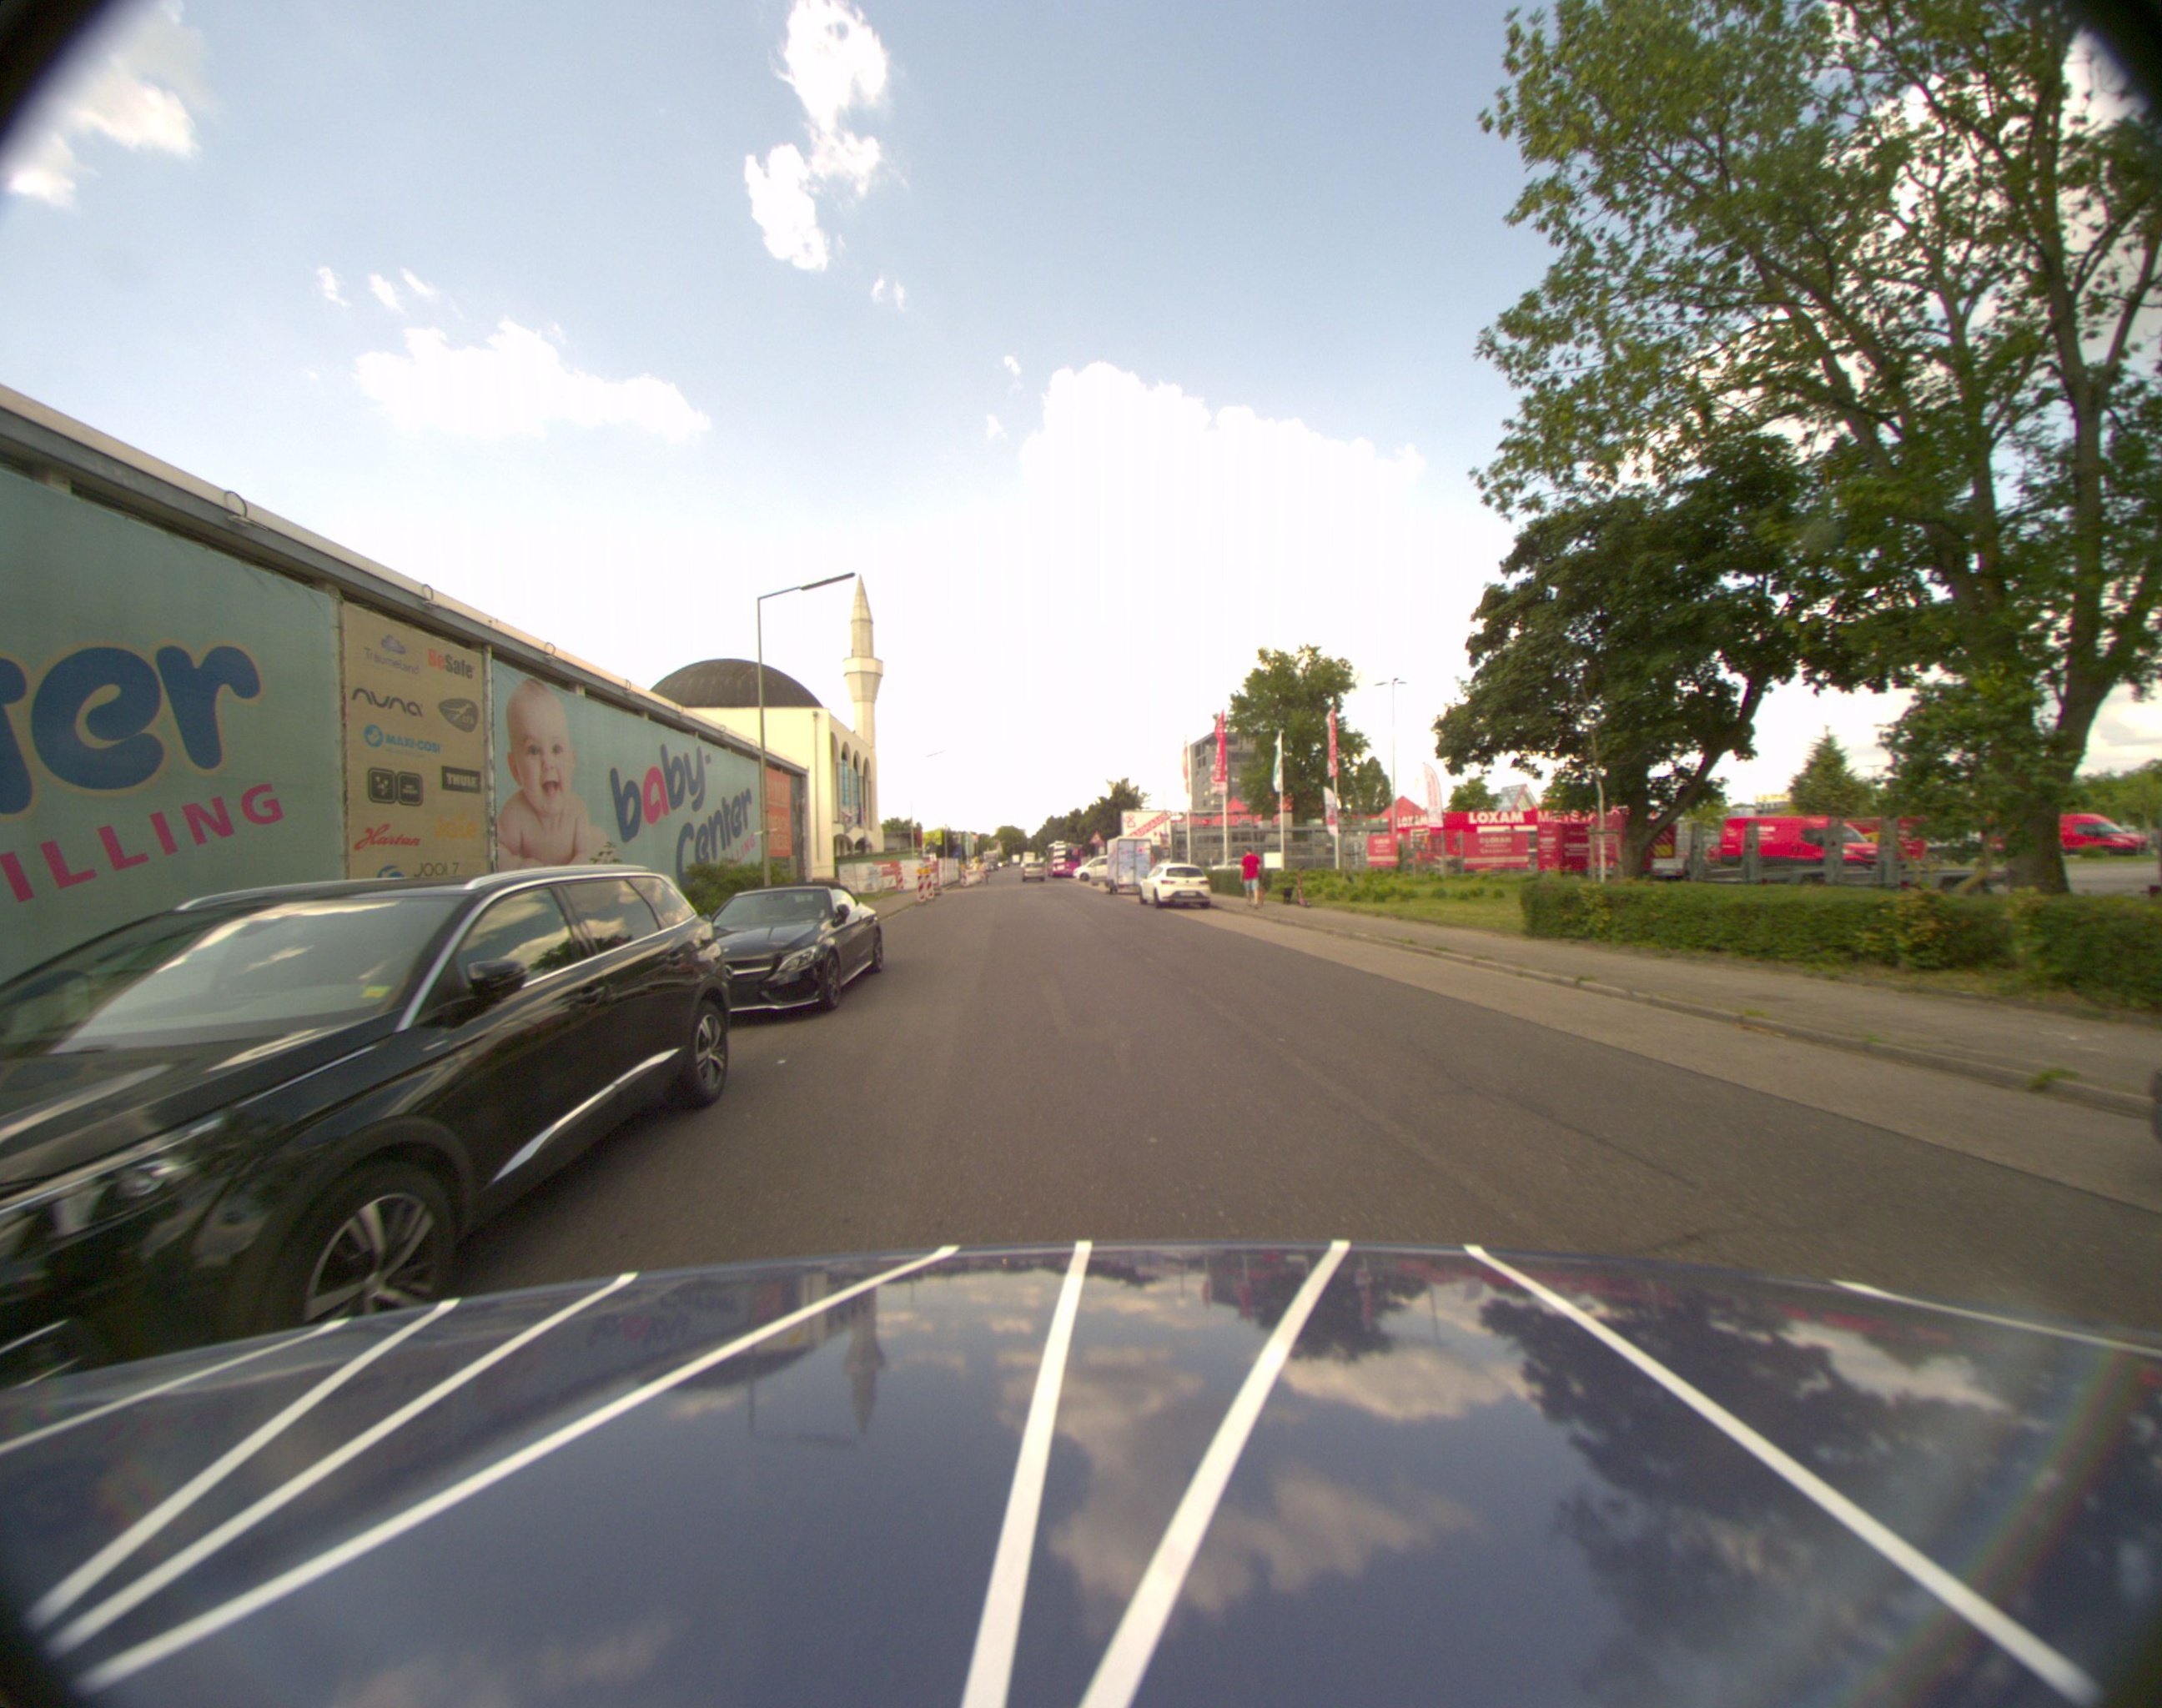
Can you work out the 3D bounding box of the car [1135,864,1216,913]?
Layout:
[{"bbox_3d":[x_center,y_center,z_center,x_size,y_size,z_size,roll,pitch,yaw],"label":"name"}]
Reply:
[{"bbox_3d":[3.096,1.110,25.785,1.771,1.470,4.233,1,0,-6],"label":"car"}]

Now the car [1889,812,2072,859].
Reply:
[{"bbox_3d":[49.960,-1.041,42.504,2.273,2.402,6.433,-2,2,-6],"label":"car"}]

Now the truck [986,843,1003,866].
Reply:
[{"bbox_3d":[-16.715,0.190,147.203,2.786,4.092,8.275,-4,0,-5],"label":"truck"}]

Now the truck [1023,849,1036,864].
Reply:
[{"bbox_3d":[-12.747,0.587,187.188,2.756,3.701,7.167,0,0,-6],"label":"truck"}]

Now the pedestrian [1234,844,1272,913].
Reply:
[{"bbox_3d":[5.191,0.723,22.951,0.812,2.002,0.885,-2,1,-6],"label":"pedestrian"}]

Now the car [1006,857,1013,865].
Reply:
[{"bbox_3d":[-19.343,1.861,204.330,1.798,1.881,3.998,-2,0,-6],"label":"car"}]

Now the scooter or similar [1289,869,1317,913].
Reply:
[{"bbox_3d":[6.499,1.072,22.251,0.518,1.186,1.280,-2,1,6],"label":"scooter or similar"}]

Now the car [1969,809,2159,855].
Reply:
[{"bbox_3d":[56.040,-1.244,43.621,2.273,2.402,6.433,-2,2,-6],"label":"car"}]

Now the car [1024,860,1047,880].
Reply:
[{"bbox_3d":[-3.491,1.210,58.292,1.595,1.456,3.759,0,0,-6],"label":"car"}]

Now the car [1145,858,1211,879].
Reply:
[{"bbox_3d":[7.041,1.061,55.475,4.380,1.369,1.928,-2,0,-10],"label":"car"}]

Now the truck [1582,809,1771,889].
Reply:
[{"bbox_3d":[21.051,-0.221,26.976,5.564,2.579,1.778,-2,2,-5],"label":"truck"}]

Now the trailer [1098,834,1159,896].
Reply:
[{"bbox_3d":[2.187,0.493,36.363,2.146,2.767,4.701,1,0,-6],"label":"trailer"}]

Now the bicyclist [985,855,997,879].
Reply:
[{"bbox_3d":[-6.786,0.956,57.339,0.809,1.782,1.206,-4,1,-6],"label":"bicyclist"}]

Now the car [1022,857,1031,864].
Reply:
[{"bbox_3d":[-11.281,1.297,156.724,1.688,1.461,3.610,0,0,-6],"label":"car"}]

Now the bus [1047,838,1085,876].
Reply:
[{"bbox_3d":[-1.661,0.279,75.781,2.671,3.402,13.211,2,0,-5],"label":"bus"}]

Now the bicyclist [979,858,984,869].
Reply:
[{"bbox_3d":[-17.870,1.748,136.664,0.797,1.899,0.828,2,0,-4],"label":"bicyclist"}]

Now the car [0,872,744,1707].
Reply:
[{"bbox_3d":[-3.213,1.012,3.259,1.813,1.655,4.637,-4,0,-7],"label":"car"}]

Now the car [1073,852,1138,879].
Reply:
[{"bbox_3d":[1.897,0.874,60.038,5.013,1.938,1.992,-2,0,0],"label":"car"}]

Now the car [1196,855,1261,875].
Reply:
[{"bbox_3d":[11.743,0.869,60.619,4.697,1.445,1.954,-2,0,-4],"label":"car"}]

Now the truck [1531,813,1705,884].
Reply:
[{"bbox_3d":[21.255,-0.245,30.197,5.771,2.579,1.814,-2,2,-3],"label":"truck"}]

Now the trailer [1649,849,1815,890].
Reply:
[{"bbox_3d":[21.012,0.472,24.586,4.247,1.114,1.670,-2,2,-7],"label":"trailer"}]

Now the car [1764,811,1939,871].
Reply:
[{"bbox_3d":[36.416,-0.650,36.227,2.273,2.579,5.719,-2,2,-5],"label":"car"}]

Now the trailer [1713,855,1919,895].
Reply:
[{"bbox_3d":[21.363,0.590,22.197,4.247,0.908,2.157,-2,2,-7],"label":"trailer"}]

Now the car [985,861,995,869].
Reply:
[{"bbox_3d":[-15.996,1.932,133.572,1.666,1.332,3.983,-5,0,-6],"label":"car"}]

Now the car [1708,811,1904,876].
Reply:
[{"bbox_3d":[32.048,-0.508,34.020,2.273,2.579,6.433,-2,2,-5],"label":"car"}]

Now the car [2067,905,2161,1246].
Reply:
[{"bbox_3d":[5.523,0.946,1.374,1.714,1.411,4.329,1,0,-4],"label":"car"}]

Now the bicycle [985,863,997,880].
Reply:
[{"bbox_3d":[-6.756,1.318,57.329,0.800,1.173,2.625,-3,0,-6],"label":"bicycle"}]

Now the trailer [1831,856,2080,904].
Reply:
[{"bbox_3d":[21.534,0.609,18.815,4.247,0.908,2.021,-2,2,-7],"label":"trailer"}]

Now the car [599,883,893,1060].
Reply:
[{"bbox_3d":[-3.732,1.194,9.496,1.813,1.383,4.586,-4,0,-4],"label":"car"}]

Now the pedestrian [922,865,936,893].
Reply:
[{"bbox_3d":[-8.728,1.428,43.686,0.683,1.525,1.129,-2,1,-7],"label":"pedestrian"}]
